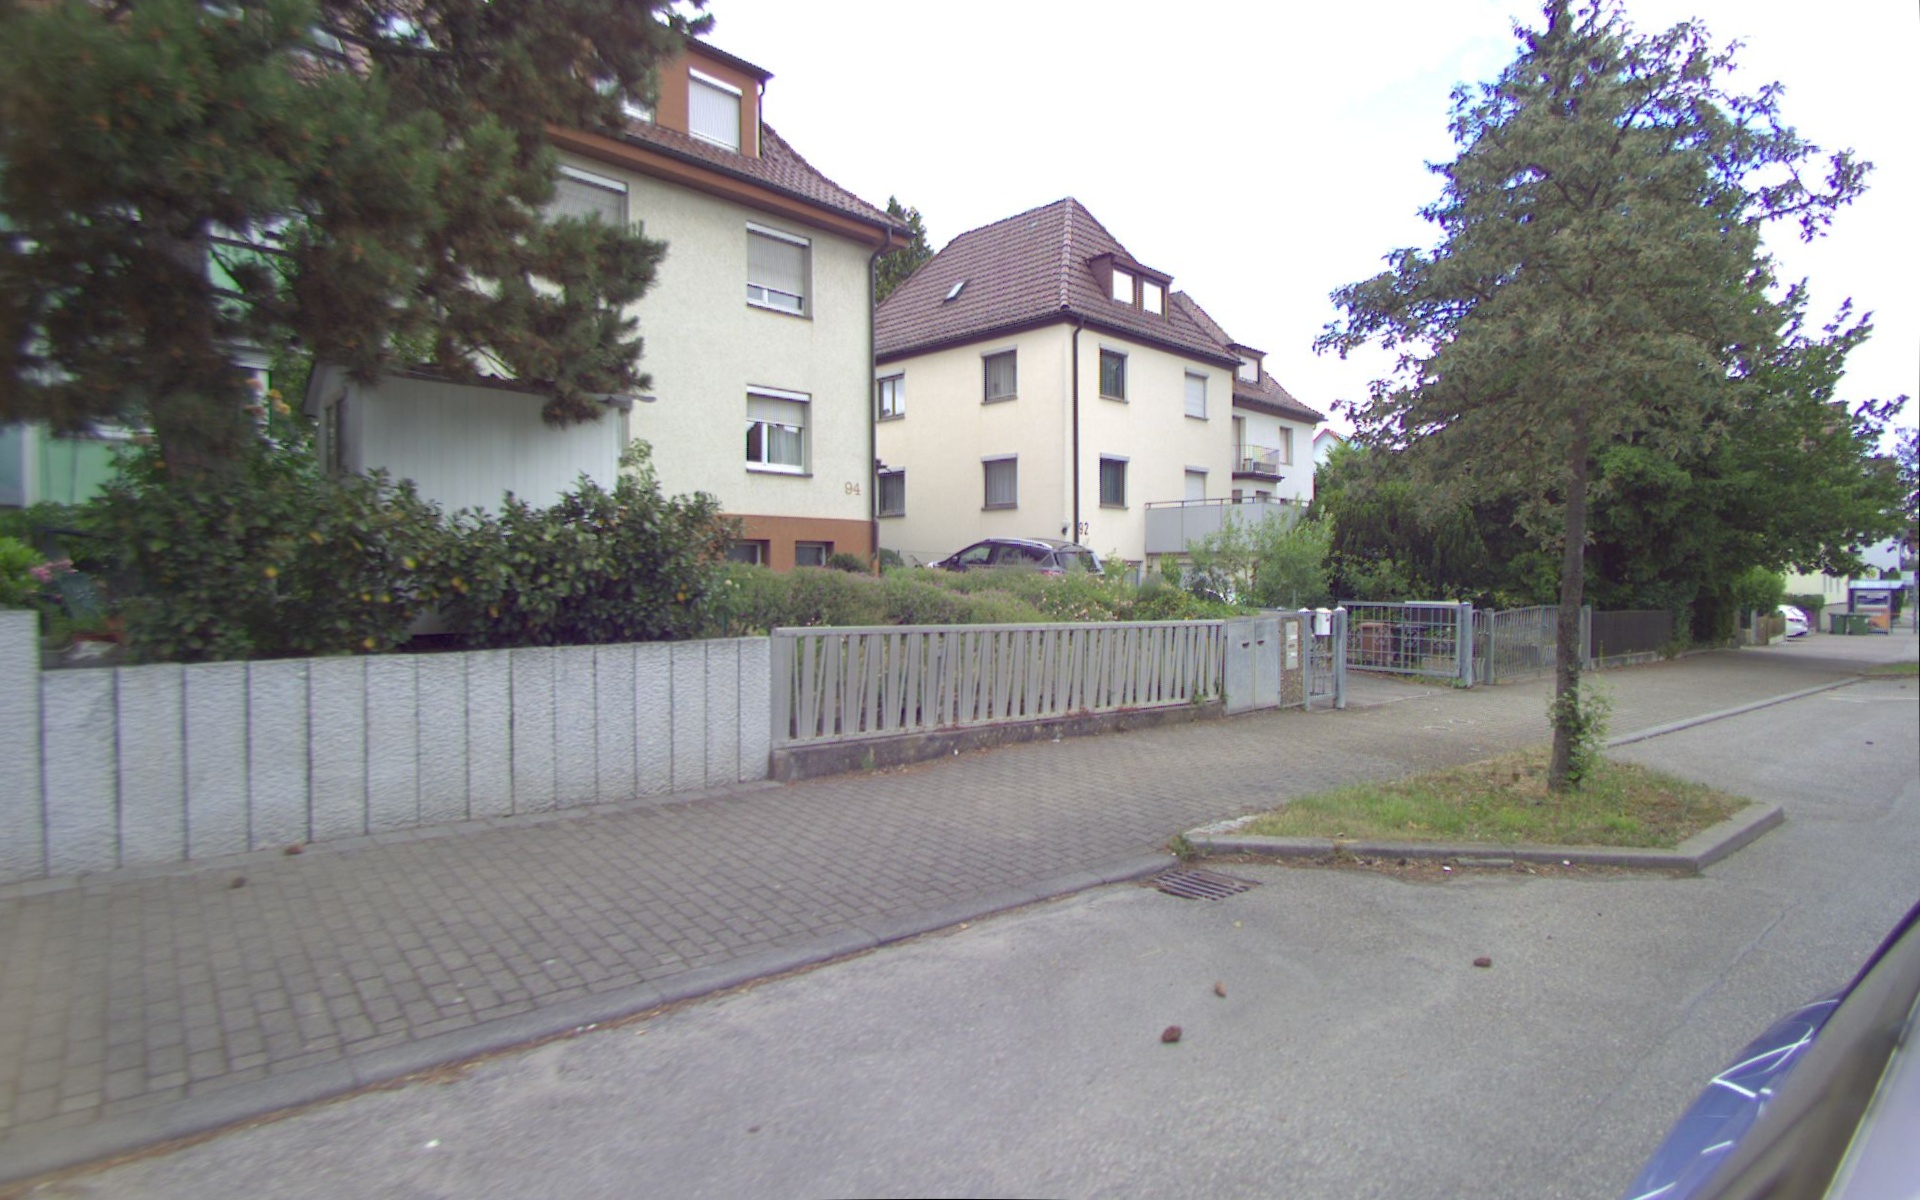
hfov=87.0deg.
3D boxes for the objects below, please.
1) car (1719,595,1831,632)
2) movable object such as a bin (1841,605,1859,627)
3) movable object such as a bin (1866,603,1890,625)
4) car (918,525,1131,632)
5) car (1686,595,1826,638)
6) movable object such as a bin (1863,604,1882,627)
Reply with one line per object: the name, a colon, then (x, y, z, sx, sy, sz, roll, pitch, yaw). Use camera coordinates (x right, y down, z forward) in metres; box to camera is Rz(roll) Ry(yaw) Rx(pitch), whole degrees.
car: (36.825, 0.576, 45.772, 3.803, 1.419, 1.615, 3, 3, 44)
movable object such as a bin: (43.790, 0.776, 49.803, 0.635, 1.059, 0.577, 0, 1, 41)
movable object such as a bin: (45.062, 0.695, 49.697, 0.579, 1.060, 0.639, -2, 0, -17)
car: (1.197, -0.533, 20.160, 1.855, 1.722, 3.994, -4, 8, -44)
car: (33.708, 0.657, 42.966, 1.833, 1.506, 4.427, -2, 3, -42)
movable object such as a bin: (44.398, 0.752, 49.266, 0.635, 1.060, 0.577, -2, 0, 41)
